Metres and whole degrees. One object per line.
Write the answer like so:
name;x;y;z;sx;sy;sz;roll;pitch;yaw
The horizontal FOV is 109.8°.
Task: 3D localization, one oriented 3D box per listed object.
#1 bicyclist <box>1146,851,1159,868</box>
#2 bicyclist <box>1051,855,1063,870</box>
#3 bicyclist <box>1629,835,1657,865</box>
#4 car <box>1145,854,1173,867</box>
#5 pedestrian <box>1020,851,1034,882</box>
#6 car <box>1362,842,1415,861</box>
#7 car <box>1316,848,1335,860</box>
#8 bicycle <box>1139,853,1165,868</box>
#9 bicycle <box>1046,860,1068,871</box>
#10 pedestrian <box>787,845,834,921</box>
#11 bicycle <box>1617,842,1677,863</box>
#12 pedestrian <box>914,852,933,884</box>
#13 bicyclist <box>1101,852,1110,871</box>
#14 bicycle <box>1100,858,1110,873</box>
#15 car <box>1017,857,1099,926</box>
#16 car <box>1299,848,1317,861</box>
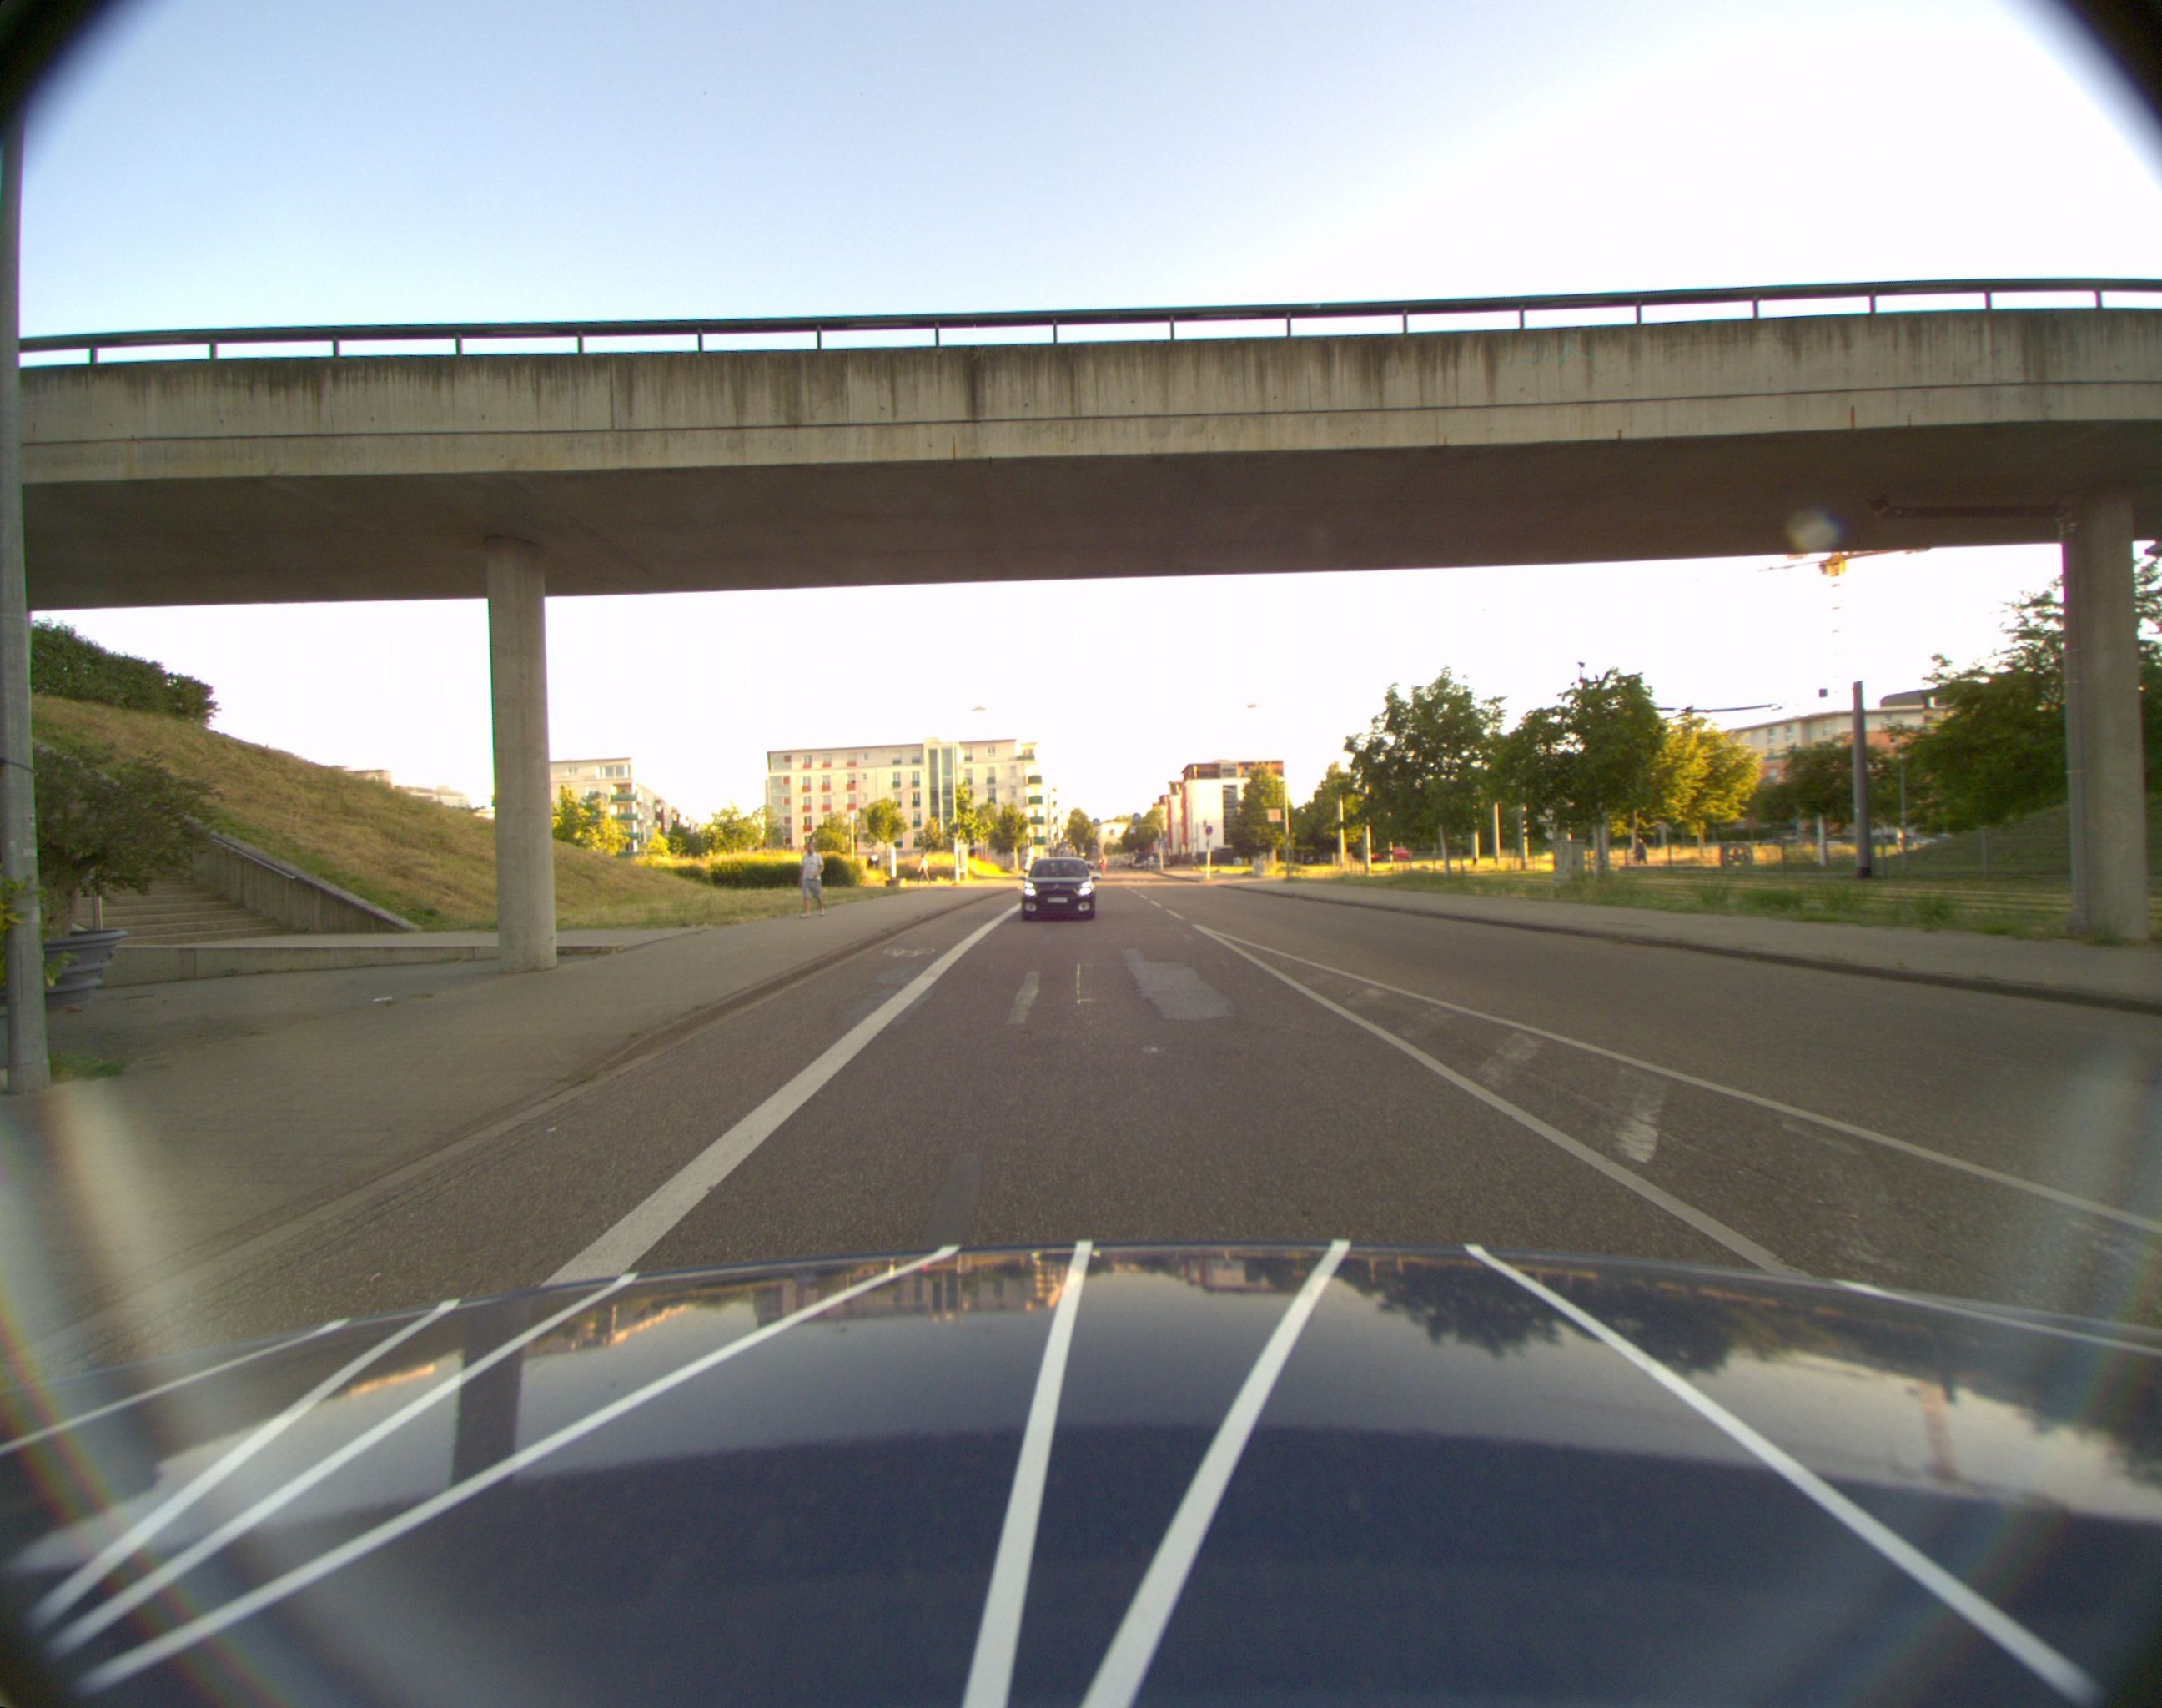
bicyclist;8.005;0.635;85.186;0.881;1.865;1.036;-1;1;43
bicyclist;-2.629;0.942;83.606;0.934;1.585;1.065;-2;0;-25
bicyclist;30.587;-0.222;41.362;0.910;1.622;0.717;-2;0;-5
car;11.734;0.994;113.882;3.996;1.718;2.000;-2;0;2
pedestrian;-3.032;0.694;42.877;0.737;1.714;0.532;0;0;1
car;36.598;-0.323;90.498;5.518;2.002;2.002;-2;0;10
car;31.029;-0.005;96.621;1.942;1.521;4.004;-2;0;14
bicycle;7.938;0.710;85.080;3.328;1.483;0.885;-2;0;-45
bicycle;-2.669;1.277;83.516;0.902;1.142;3.491;-2;0;-28
pedestrian;-6.242;0.648;17.559;0.737;1.714;0.906;0;0;1
bicycle;30.815;-0.079;41.359;2.842;1.002;0.655;-2;0;-3
pedestrian;-7.998;0.701;38.557;0.737;1.620;0.859;0;0;2
bicyclist;2.078;0.635;64.779;0.697;1.630;0.852;-2;0;4
bicycle;2.041;0.992;64.687;0.662;1.217;2.440;-2;0;4
car;-0.477;0.824;18.610;1.739;1.455;4.000;-2;0;1
car;28.942;0.058;97.028;1.942;1.521;4.004;-2;0;14
